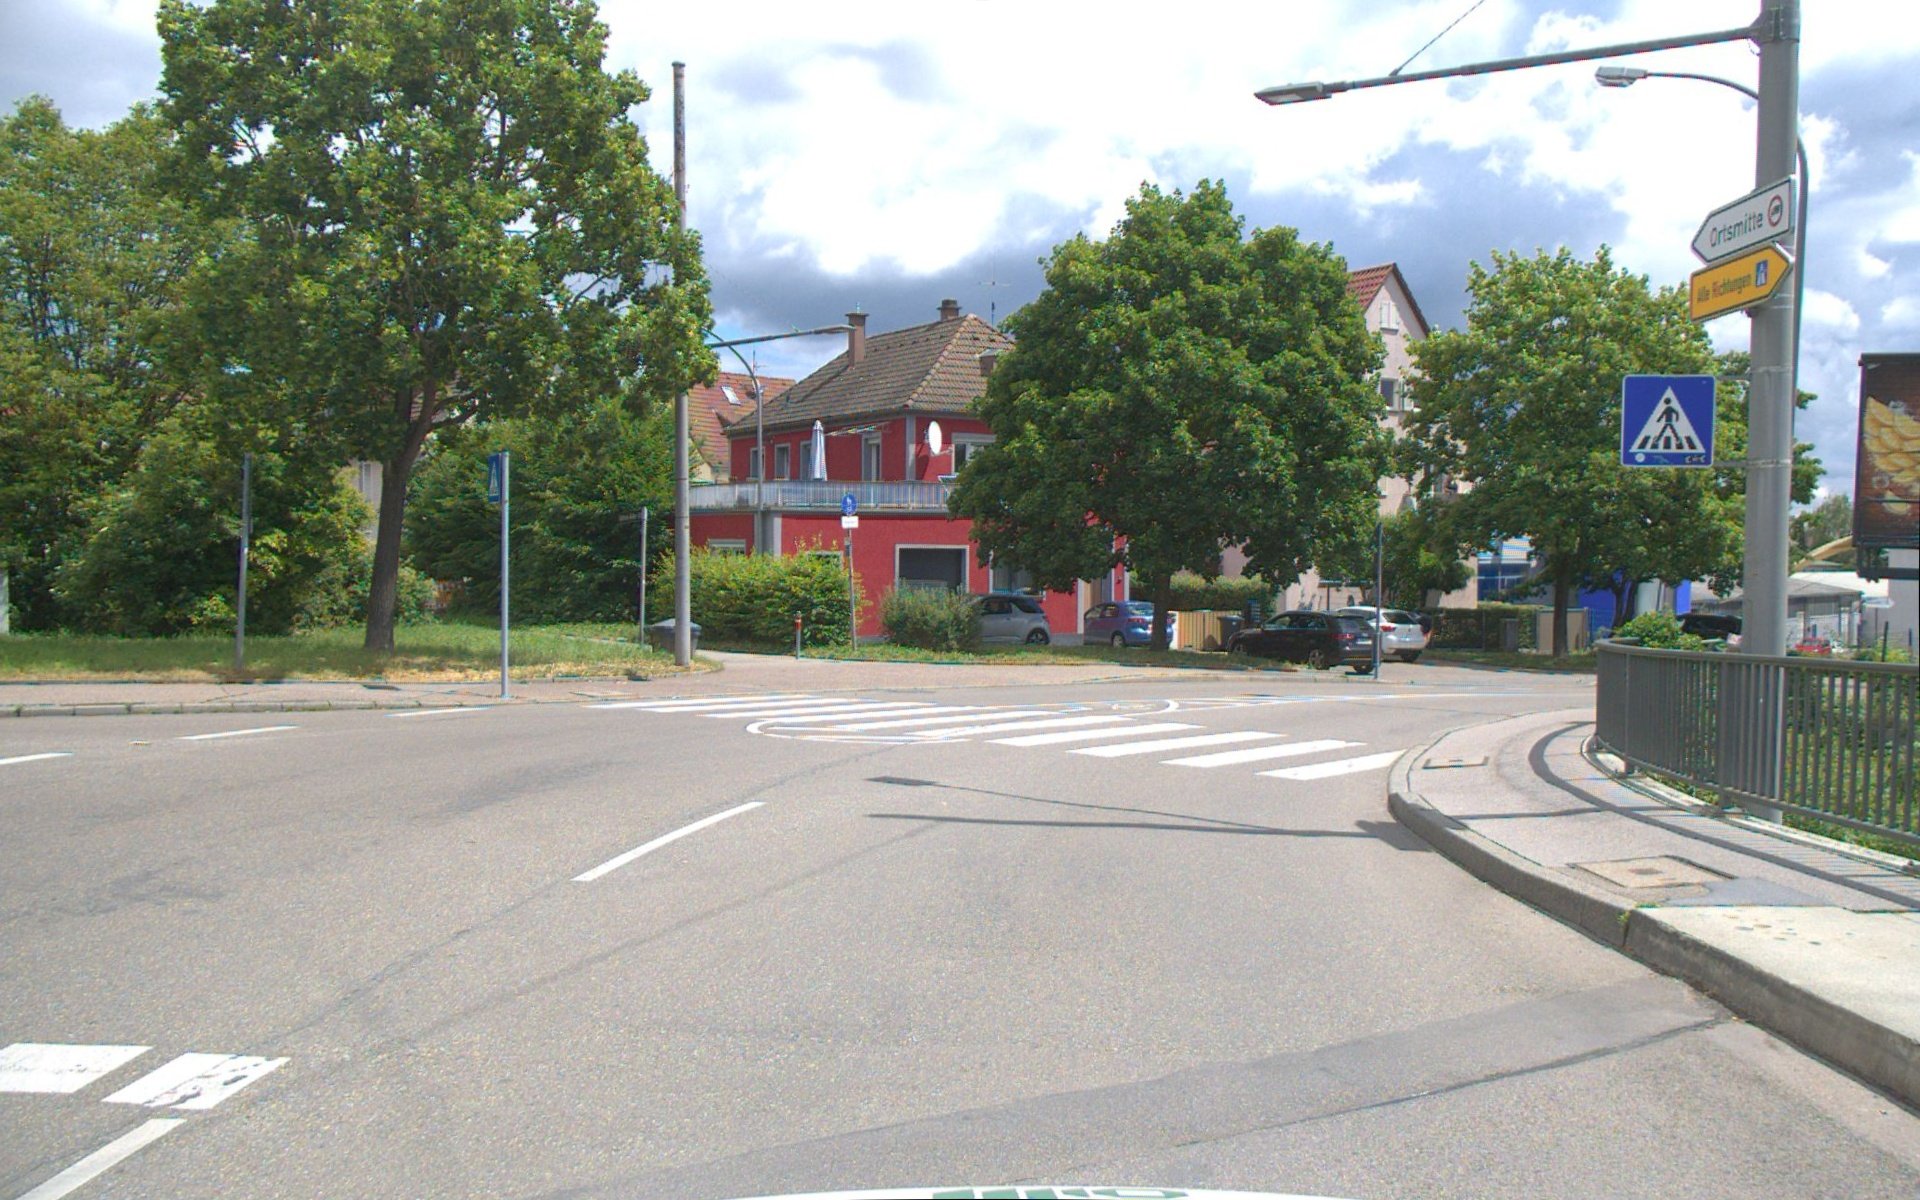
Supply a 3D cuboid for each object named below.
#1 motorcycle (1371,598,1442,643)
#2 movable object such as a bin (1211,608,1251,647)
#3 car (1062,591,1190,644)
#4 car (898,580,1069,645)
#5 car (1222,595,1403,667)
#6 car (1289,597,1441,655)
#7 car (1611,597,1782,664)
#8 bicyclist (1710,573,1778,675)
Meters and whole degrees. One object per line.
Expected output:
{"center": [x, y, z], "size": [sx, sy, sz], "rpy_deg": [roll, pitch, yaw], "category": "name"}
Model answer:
{"center": [14.342, 0.659, 53.068], "size": [2.208, 1.338, 0.910], "rpy_deg": [2, 1, -34], "category": "motorcycle"}
{"center": [8.053, 0.818, 49.211], "size": [0.867, 1.080, 0.751], "rpy_deg": [2, 1, -28], "category": "movable object such as a bin"}
{"center": [4.758, 0.491, 47.854], "size": [1.818, 1.401, 3.775], "rpy_deg": [1, 1, -31], "category": "car"}
{"center": [0.610, 0.314, 41.451], "size": [4.026, 1.450, 1.628], "rpy_deg": [2, 2, -33], "category": "car"}
{"center": [8.391, 0.721, 39.703], "size": [1.973, 1.417, 4.102], "rpy_deg": [2, 2, -31], "category": "car"}
{"center": [11.285, 0.703, 46.278], "size": [1.854, 1.428, 3.885], "rpy_deg": [2, 0, -34], "category": "car"}
{"center": [23.589, 0.957, 53.138], "size": [1.974, 1.745, 4.665], "rpy_deg": [4, 1, -32], "category": "car"}
{"center": [14.740, 0.455, 31.089], "size": [1.066, 1.858, 0.679], "rpy_deg": [3, -2, -32], "category": "bicyclist"}
